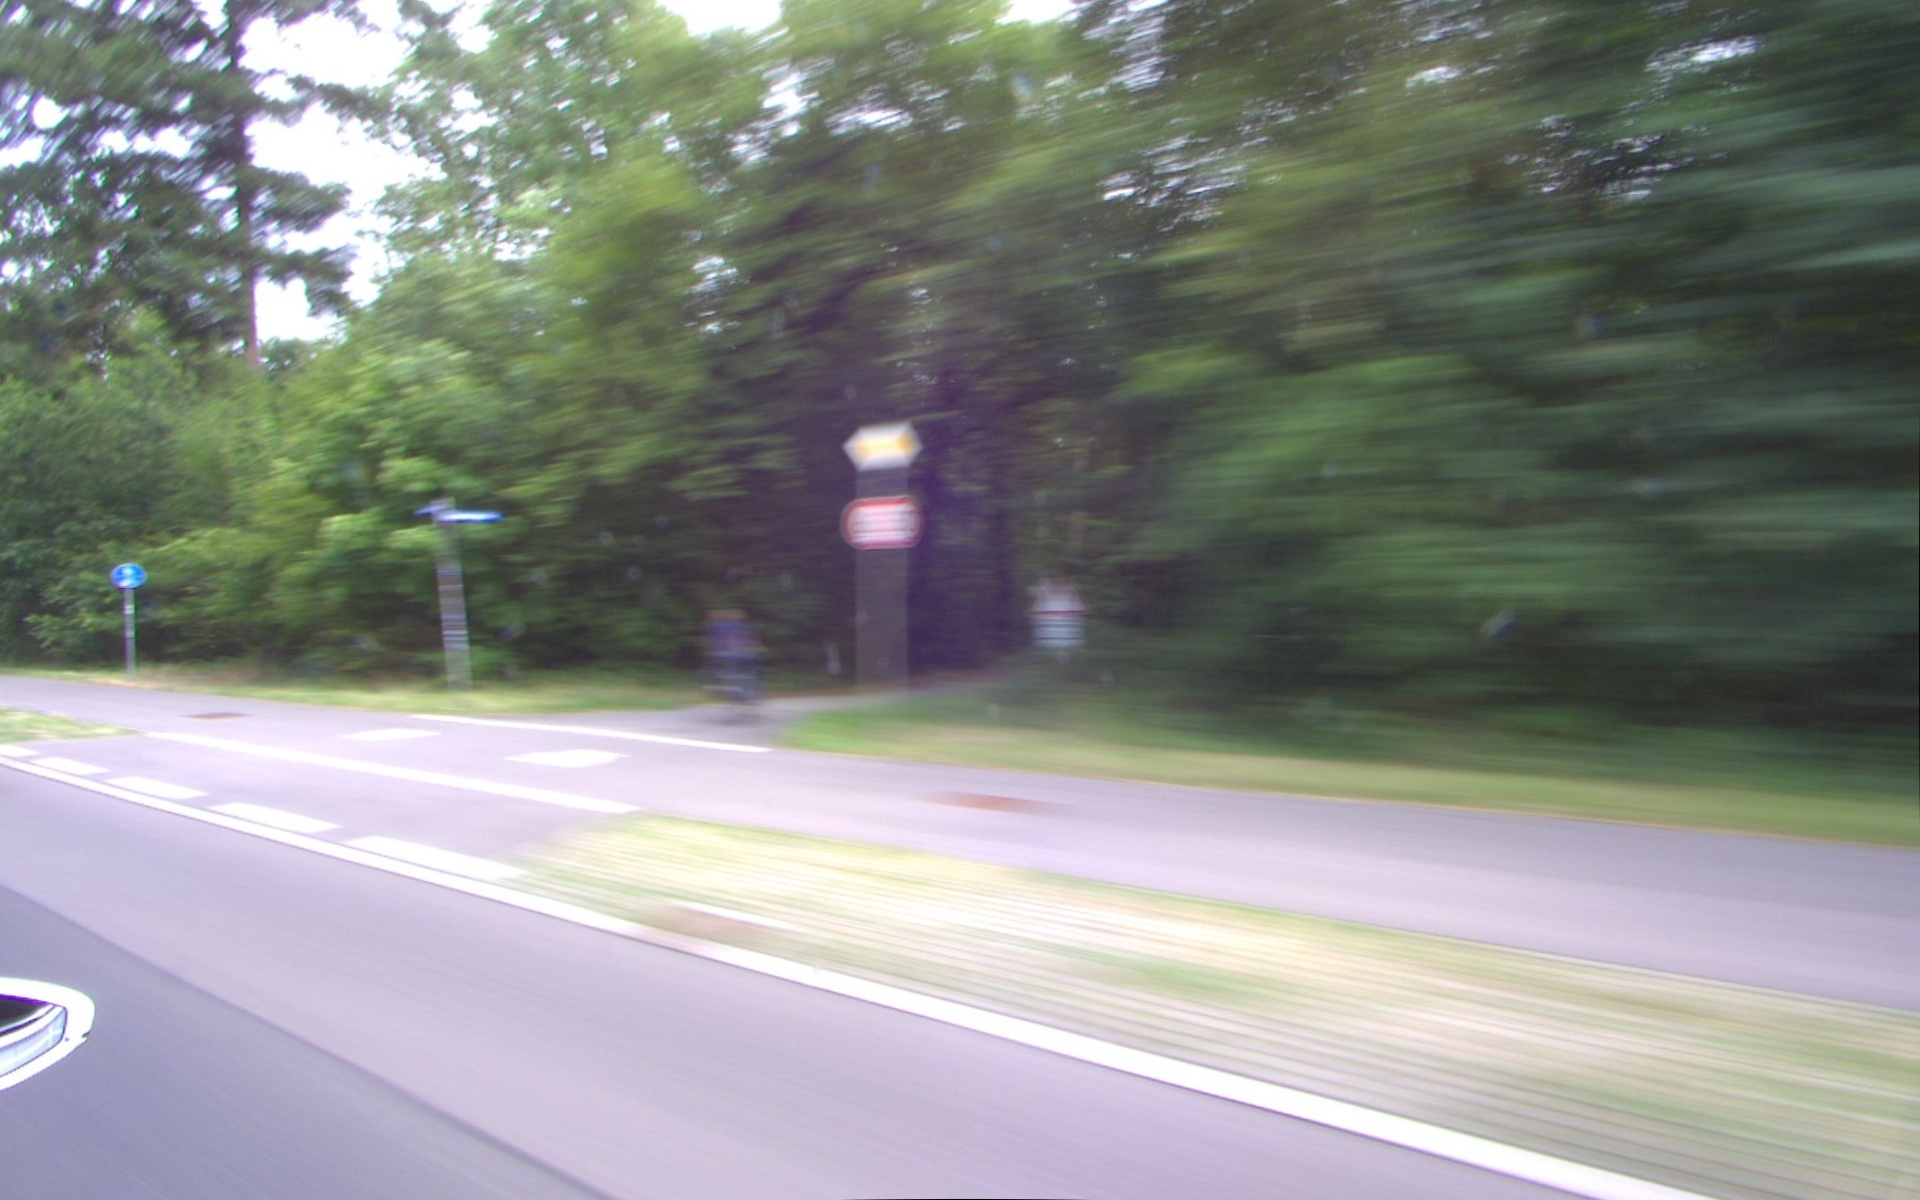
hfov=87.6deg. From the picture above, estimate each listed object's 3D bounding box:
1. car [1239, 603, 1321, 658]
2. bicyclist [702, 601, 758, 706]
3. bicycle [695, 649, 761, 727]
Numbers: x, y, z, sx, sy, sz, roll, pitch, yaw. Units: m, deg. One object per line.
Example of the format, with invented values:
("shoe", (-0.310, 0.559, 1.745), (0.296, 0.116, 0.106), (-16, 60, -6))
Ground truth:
("car", (11.561, 1.147, 35.987), (1.971, 1.815, 3.984), (-2, -4, 31))
("bicyclist", (-3.367, 0.765, 14.692), (0.697, 1.489, 0.901), (0, -1, -7))
("bicycle", (-3.372, 1.245, 14.701), (0.697, 1.007, 2.181), (0, -1, -6))
